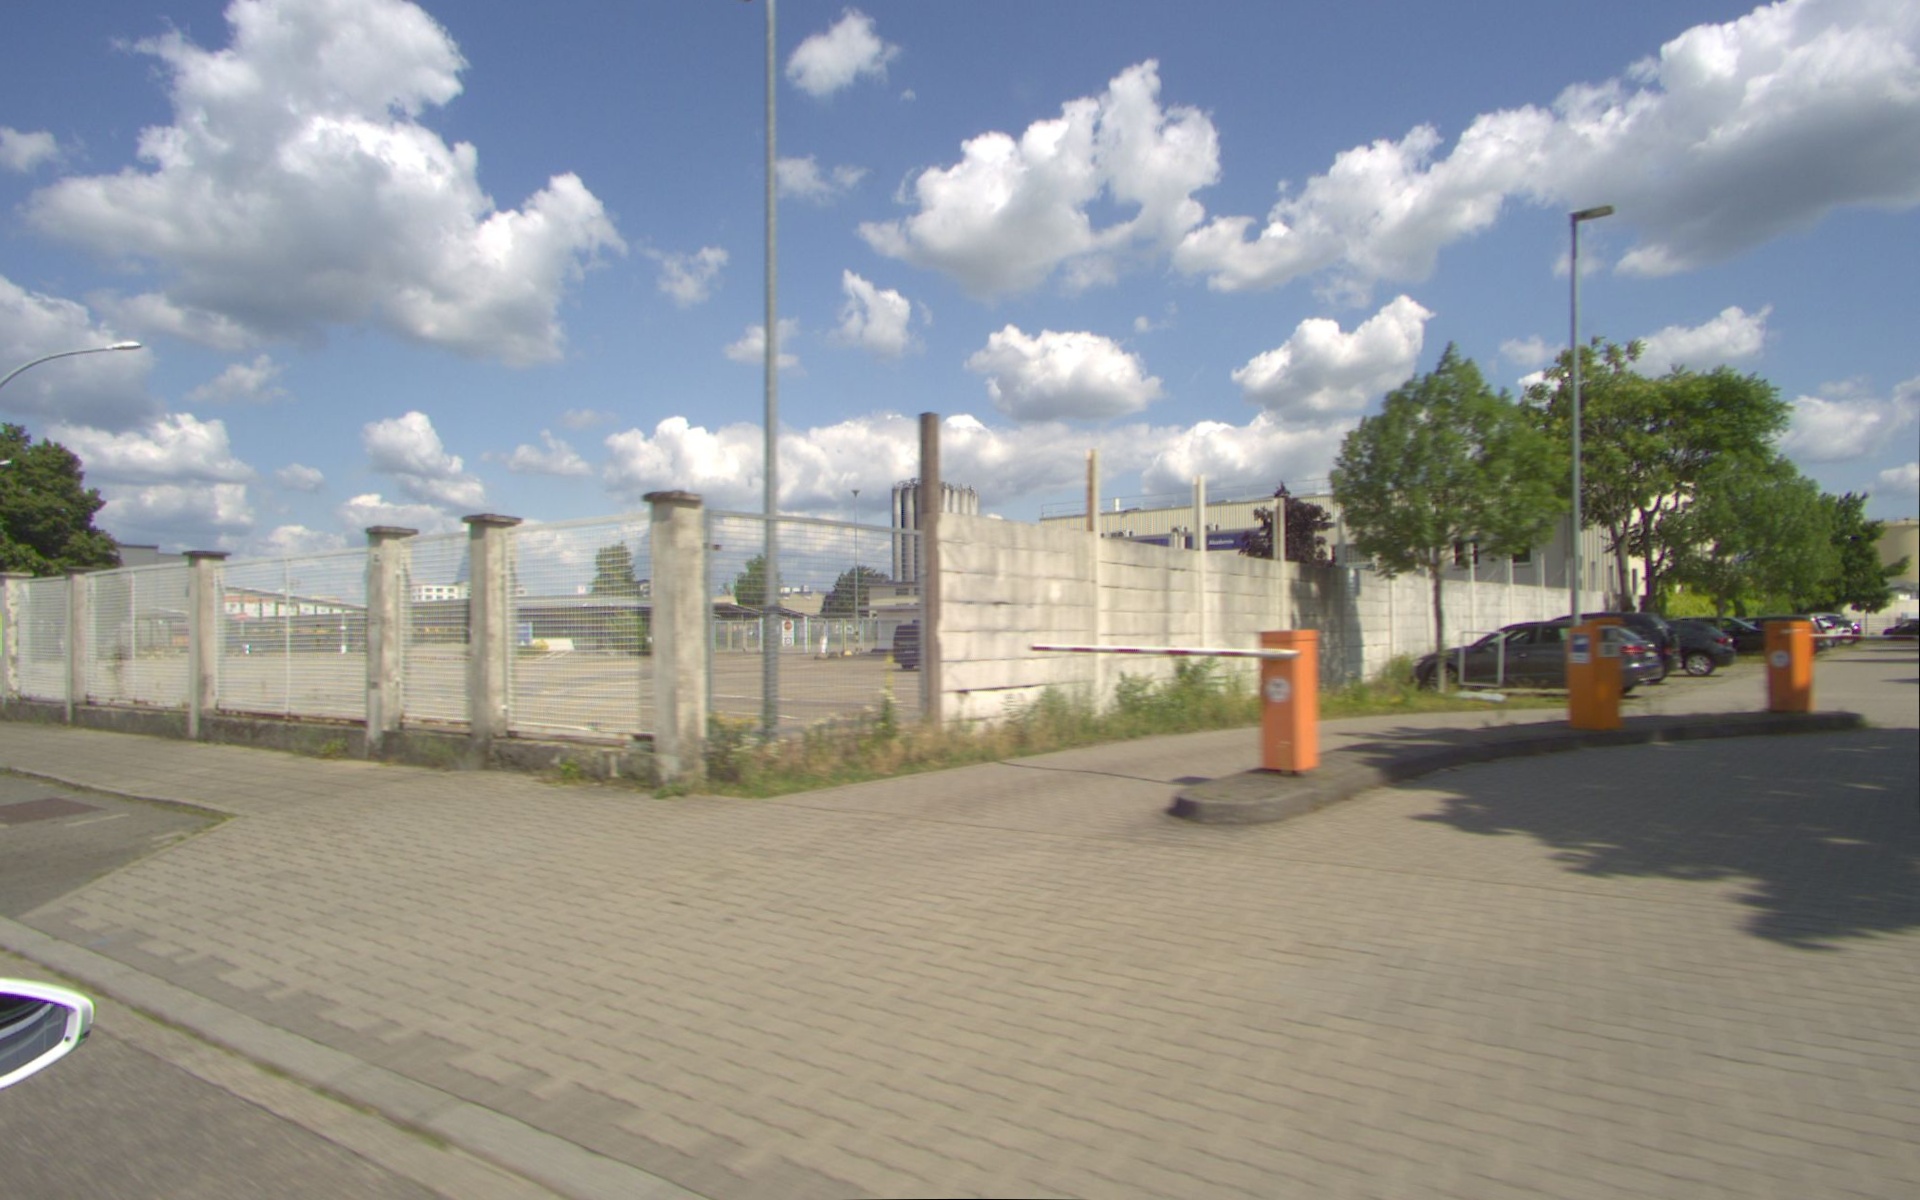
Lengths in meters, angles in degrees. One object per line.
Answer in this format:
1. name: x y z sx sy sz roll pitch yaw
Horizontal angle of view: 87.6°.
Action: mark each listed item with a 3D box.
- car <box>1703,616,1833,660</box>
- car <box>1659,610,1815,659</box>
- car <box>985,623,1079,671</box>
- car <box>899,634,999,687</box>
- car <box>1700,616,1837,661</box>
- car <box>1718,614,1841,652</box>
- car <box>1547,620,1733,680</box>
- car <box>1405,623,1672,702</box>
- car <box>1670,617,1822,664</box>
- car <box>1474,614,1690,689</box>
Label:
1. car: 30.342 1.433 37.671 1.762 1.569 3.618 1 -3 -44
2. car: 26.312 1.198 33.978 1.723 1.569 3.963 1 -3 -43
3. car: 2.817 1.767 38.345 1.909 1.661 3.900 -2 0 34
4. car: -0.385 2.517 41.071 1.908 1.875 4.385 1 -5 34
5. car: 30.350 1.493 37.648 3.849 1.613 1.893 -3 -4 45
6. car: 35.595 1.474 43.561 1.735 1.569 3.964 1 -3 -43
7. car: 17.962 1.312 26.537 3.951 1.473 1.648 -3 -2 38
8. car: 10.945 1.165 19.149 4.149 1.351 1.626 -3 -3 44
9. car: 27.588 1.428 35.229 1.722 1.569 3.964 1 -3 -42
10. car: 14.313 1.179 23.179 3.959 1.569 1.725 -3 -3 44
